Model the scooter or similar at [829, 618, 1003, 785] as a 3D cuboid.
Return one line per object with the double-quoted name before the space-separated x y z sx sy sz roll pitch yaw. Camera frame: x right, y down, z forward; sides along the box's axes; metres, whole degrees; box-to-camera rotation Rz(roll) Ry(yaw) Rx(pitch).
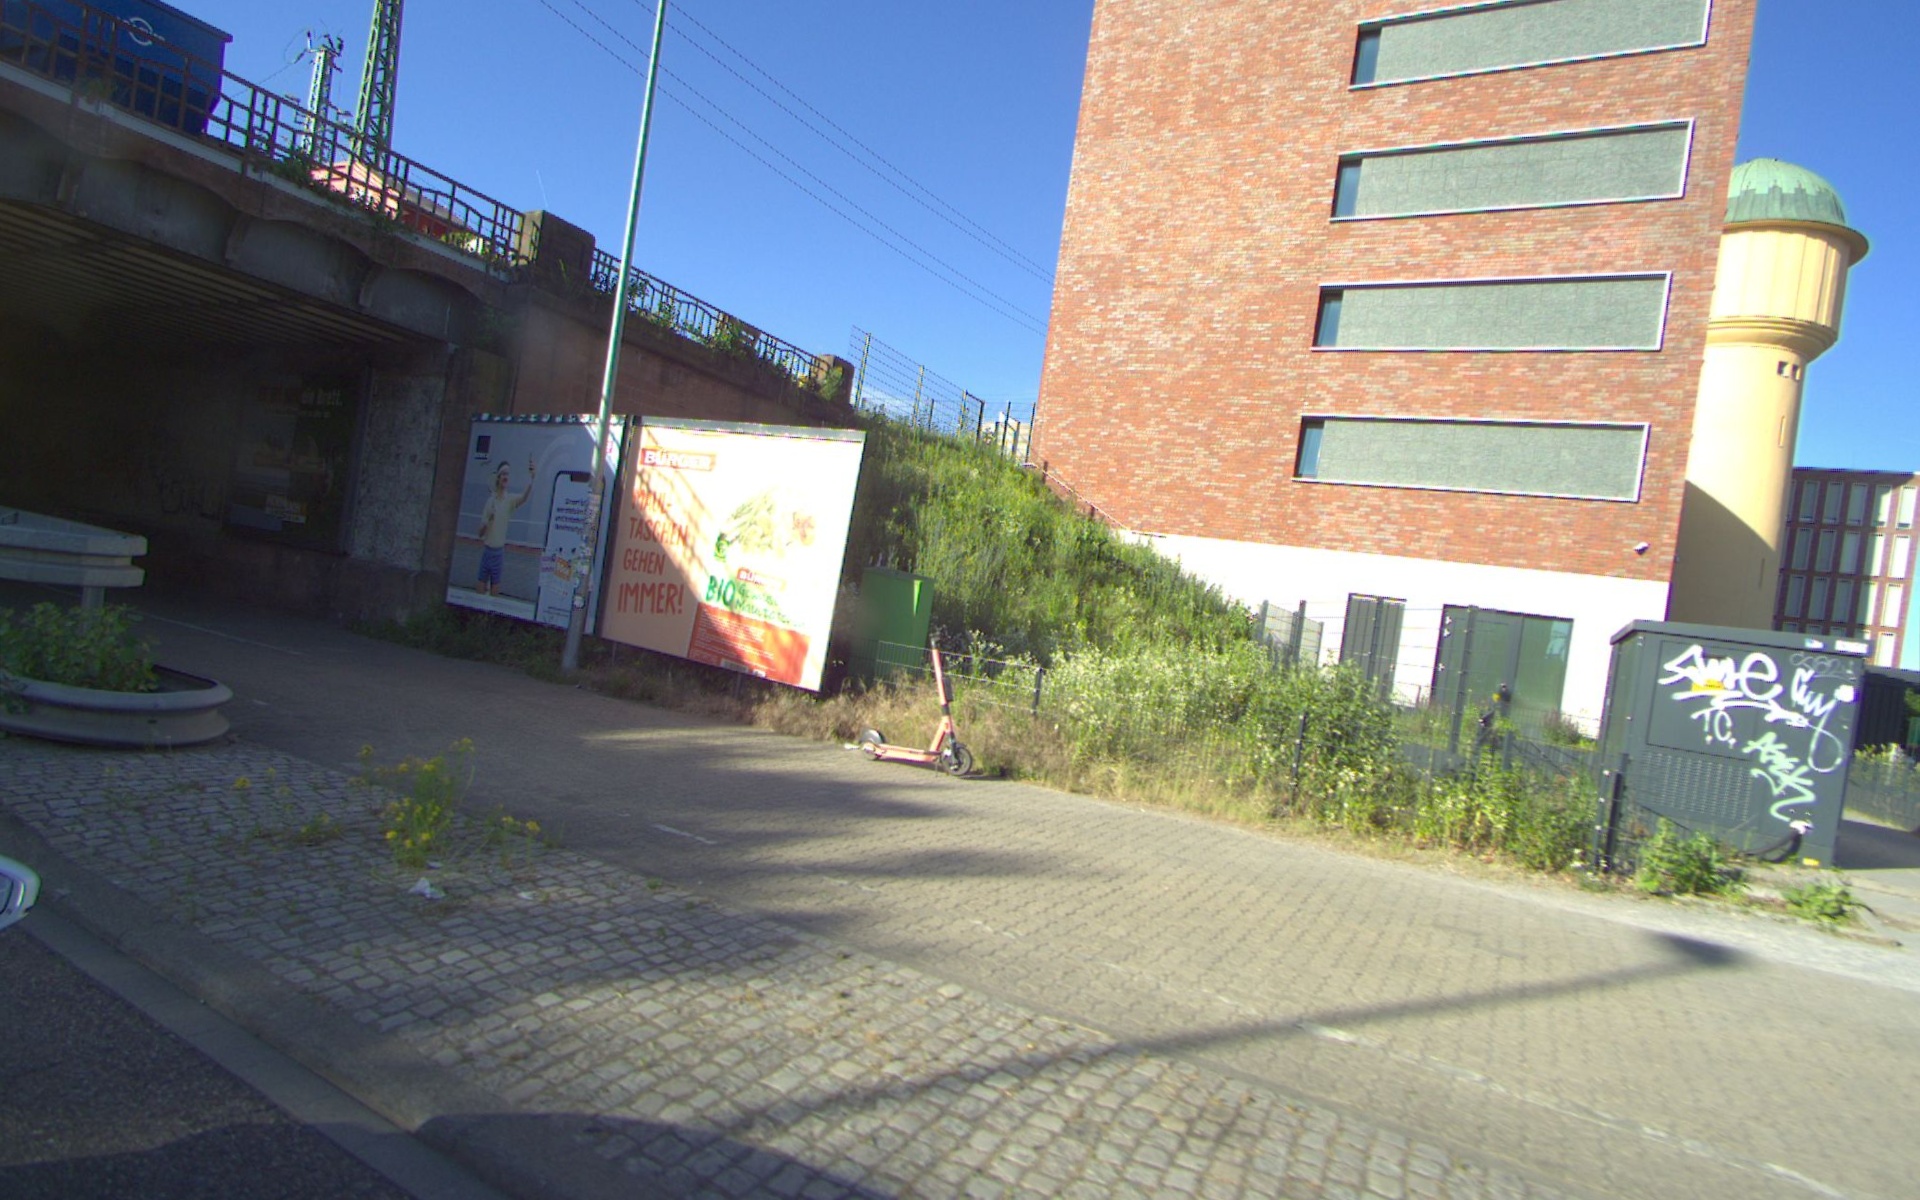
"scooter or similar" -0.386 0.848 8.646 1.269 1.211 0.538 7 -1 31
